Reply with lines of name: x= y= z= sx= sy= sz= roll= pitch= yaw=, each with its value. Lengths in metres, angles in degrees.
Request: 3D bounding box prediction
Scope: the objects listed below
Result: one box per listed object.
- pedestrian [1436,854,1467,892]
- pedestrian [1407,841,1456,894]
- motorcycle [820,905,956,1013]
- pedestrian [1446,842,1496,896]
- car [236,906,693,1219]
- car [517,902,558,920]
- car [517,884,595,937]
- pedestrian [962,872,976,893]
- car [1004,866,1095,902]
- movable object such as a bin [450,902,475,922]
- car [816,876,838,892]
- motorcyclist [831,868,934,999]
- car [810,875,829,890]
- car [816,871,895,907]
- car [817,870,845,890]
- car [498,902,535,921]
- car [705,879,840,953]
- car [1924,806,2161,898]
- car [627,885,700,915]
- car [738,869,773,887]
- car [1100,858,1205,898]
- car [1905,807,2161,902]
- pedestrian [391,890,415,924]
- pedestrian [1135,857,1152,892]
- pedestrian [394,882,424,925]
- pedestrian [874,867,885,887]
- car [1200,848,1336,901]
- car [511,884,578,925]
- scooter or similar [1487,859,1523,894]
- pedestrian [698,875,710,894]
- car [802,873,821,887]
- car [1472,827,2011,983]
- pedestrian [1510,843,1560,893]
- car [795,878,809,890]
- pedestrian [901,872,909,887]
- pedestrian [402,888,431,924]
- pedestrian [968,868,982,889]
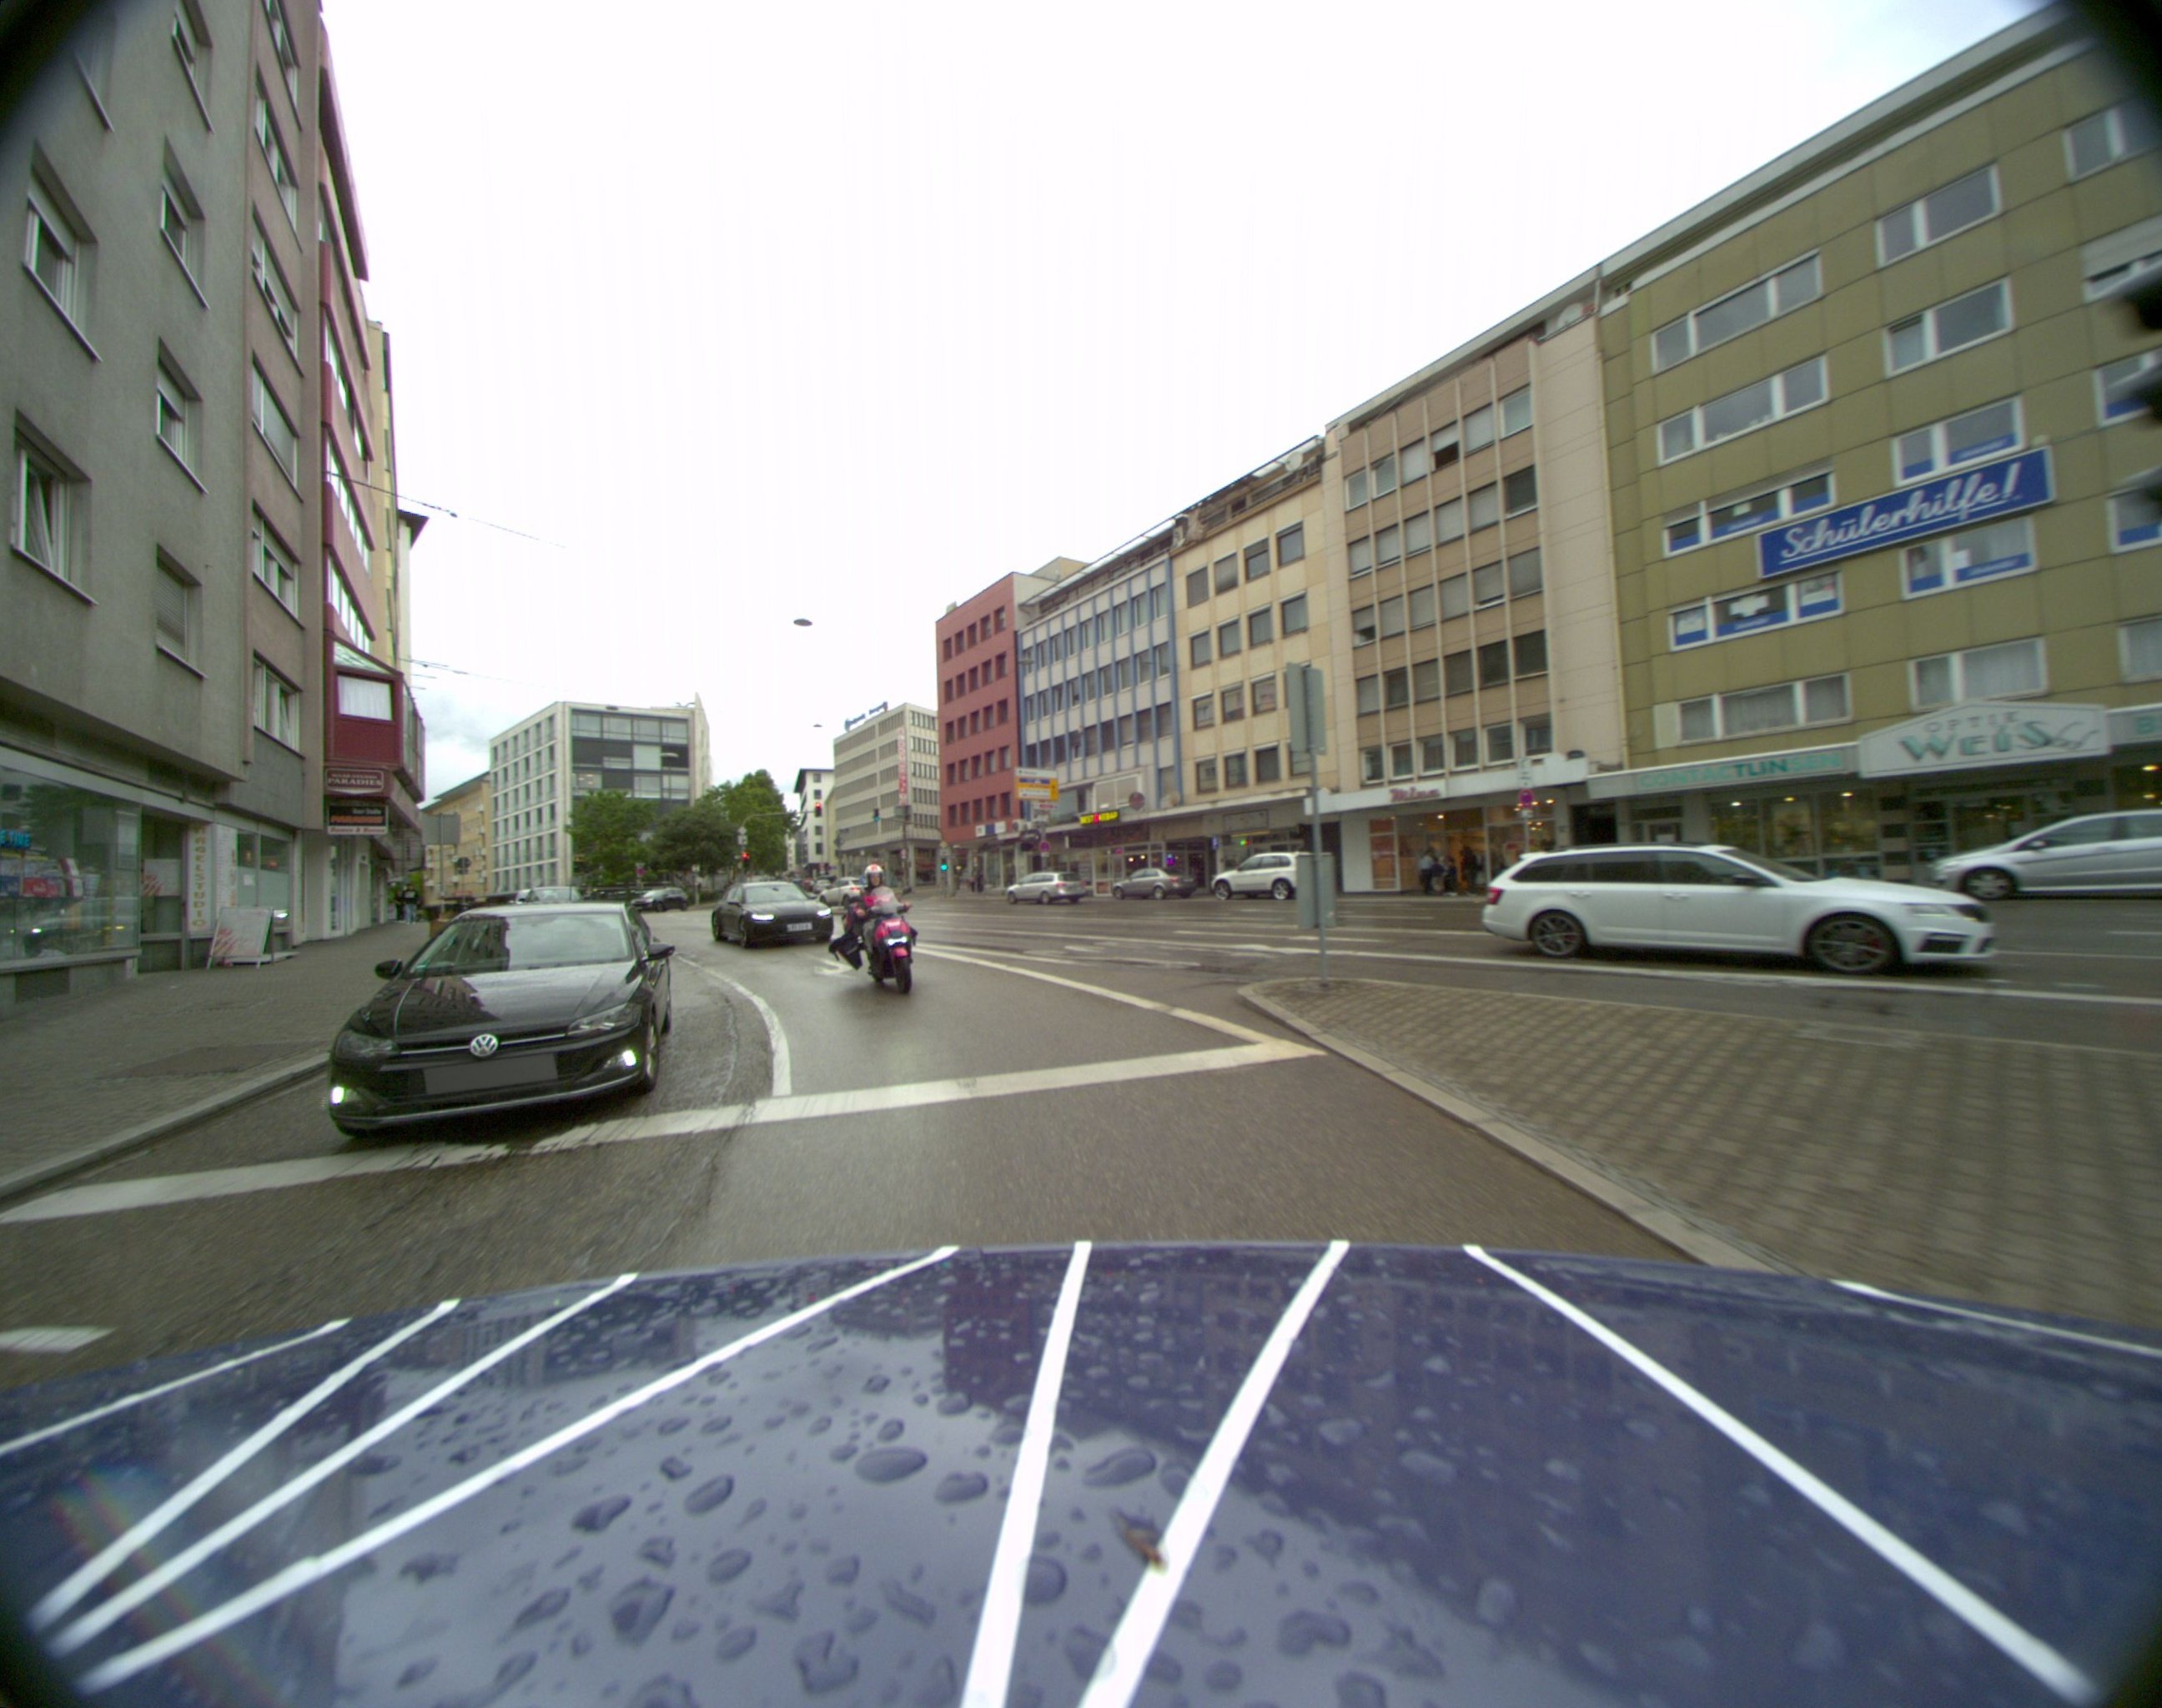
pedestrian: x=12.713 y=0.670 z=26.055 sx=0.537 sy=1.242 sz=0.719 roll=-4 pitch=-1 yaw=-39
pedestrian: x=12.158 y=0.474 z=26.367 sx=0.955 sy=1.703 sz=1.089 roll=-4 pitch=-1 yaw=-14
motorcycle: x=-2.685 y=1.332 z=10.312 sx=1.315 sy=1.128 sz=2.181 roll=-3 pitch=0 yaw=-26
pedestrian: x=12.944 y=0.506 z=25.212 sx=0.956 sy=1.685 sz=1.084 roll=-4 pitch=-1 yaw=-39
car: x=-4.392 y=1.262 z=6.204 sx=1.745 sy=1.422 sz=3.874 roll=-3 pitch=0 yaw=-22
car: x=-47.139 y=4.932 z=65.926 sx=3.990 sy=1.379 sz=1.979 roll=-5 pitch=-5 yaw=40
car: x=-17.881 y=1.888 z=25.814 sx=1.876 sy=1.538 sz=4.094 roll=-4 pitch=-1 yaw=-38
pedestrian: x=-9.205 y=2.329 z=62.353 sx=0.693 sy=1.620 sz=0.734 roll=-5 pitch=-1 yaw=26
car: x=-1.558 y=1.412 z=35.280 sx=1.794 sy=1.437 sz=4.743 roll=-3 pitch=-1 yaw=-37
movable object such as a bin: x=-28.633 y=2.695 z=35.173 sx=0.532 sy=0.928 sz=0.673 roll=1 pitch=-4 yaw=-2
car: x=-28.270 y=3.350 z=84.494 sx=2.004 sy=1.621 sz=4.608 roll=-4 pitch=-1 yaw=-21
motorcyclist: x=-2.701 y=1.028 z=10.294 sx=1.095 sy=1.595 sz=0.951 roll=-3 pitch=0 yaw=-27
car: x=-33.704 y=3.634 z=97.908 sx=2.029 sy=1.739 sz=4.607 roll=-4 pitch=-1 yaw=-22
car: x=-11.298 y=1.763 z=37.898 sx=2.004 sy=1.542 sz=4.418 roll=-4 pitch=-1 yaw=-42
car: x=-29.659 y=3.136 z=90.077 sx=2.100 sy=2.078 sz=4.605 roll=-4 pitch=-1 yaw=-29
car: x=-52.074 y=5.346 z=70.023 sx=3.990 sy=1.489 sz=1.814 roll=-5 pitch=-1 yaw=40
car: x=-7.711 y=1.446 z=18.705 sx=2.003 sy=1.482 sz=4.724 roll=-2 pitch=-1 yaw=-35
car: x=18.655 y=-0.034 z=13.847 sx=1.708 sy=1.554 sz=4.192 roll=-3 pitch=-1 yaw=-36
car: x=-28.660 y=3.129 z=52.315 sx=1.996 sy=1.673 sz=4.005 roll=-3 pitch=0 yaw=19
car: x=-45.237 y=3.310 z=105.752 sx=3.834 sy=2.252 sz=1.985 roll=-4 pitch=1 yaw=-2
car: x=3.152 y=1.112 z=34.388 sx=1.874 sy=1.599 sz=4.869 roll=-3 pitch=-1 yaw=-37
car: x=18.635 y=0.006 z=14.063 sx=1.856 sy=1.541 sz=4.390 roll=-4 pitch=-1 yaw=-38
pedestrian: x=-36.582 y=2.833 z=40.988 sx=0.618 sy=1.752 sz=0.788 roll=-4 pitch=0 yaw=-17
pedestrian: x=3.157 y=1.030 z=38.130 sx=0.448 sy=1.698 sz=0.583 roll=-4 pitch=-1 yaw=-37
pedestrian: x=-28.425 y=2.096 z=32.149 sx=0.616 sy=1.753 sz=0.840 roll=-6 pitch=-7 yaw=44
pedestrian: x=-21.270 y=2.428 z=80.245 sx=0.996 sy=2.001 sz=0.946 roll=-2 pitch=0 yaw=-23
car: x=7.063 y=0.813 z=29.274 sx=1.858 sy=1.816 sz=4.952 roll=-3 pitch=-1 yaw=-37
car: x=-23.881 y=2.261 z=33.970 sx=2.003 sy=1.574 sz=4.096 roll=-3 pitch=-2 yaw=-30
scooter or similar: x=13.223 y=0.705 z=23.681 sx=0.740 sy=1.048 sz=0.699 roll=-4 pitch=1 yaw=-39
pedestrian: x=-37.236 y=3.049 z=75.061 sx=0.591 sy=1.803 sz=0.790 roll=-6 pitch=-1 yaw=44
car: x=-36.908 y=3.583 z=104.048 sx=1.936 sy=1.662 sz=4.438 roll=-4 pitch=-1 yaw=-24
car: x=7.556 y=0.551 z=9.210 sx=1.801 sy=1.407 sz=4.620 roll=-2 pitch=-2 yaw=-38
pedestrian: x=13.763 y=0.432 z=23.021 sx=0.670 sy=1.475 sz=1.062 roll=-4 pitch=0 yaw=-39
car: x=-47.273 y=5.029 z=128.696 sx=2.029 sy=1.830 sz=4.039 roll=-4 pitch=-1 yaw=-22
pedestrian: x=-19.226 y=2.796 z=83.179 sx=0.715 sy=1.613 sz=0.723 roll=-3 pitch=0 yaw=-19
pedestrian: x=-33.023 y=2.575 z=37.780 sx=0.754 sy=1.712 sz=0.752 roll=-4 pitch=0 yaw=-17
pedestrian: x=-9.024 y=2.100 z=64.791 sx=0.732 sy=1.737 sz=0.744 roll=-5 pitch=0 yaw=23
